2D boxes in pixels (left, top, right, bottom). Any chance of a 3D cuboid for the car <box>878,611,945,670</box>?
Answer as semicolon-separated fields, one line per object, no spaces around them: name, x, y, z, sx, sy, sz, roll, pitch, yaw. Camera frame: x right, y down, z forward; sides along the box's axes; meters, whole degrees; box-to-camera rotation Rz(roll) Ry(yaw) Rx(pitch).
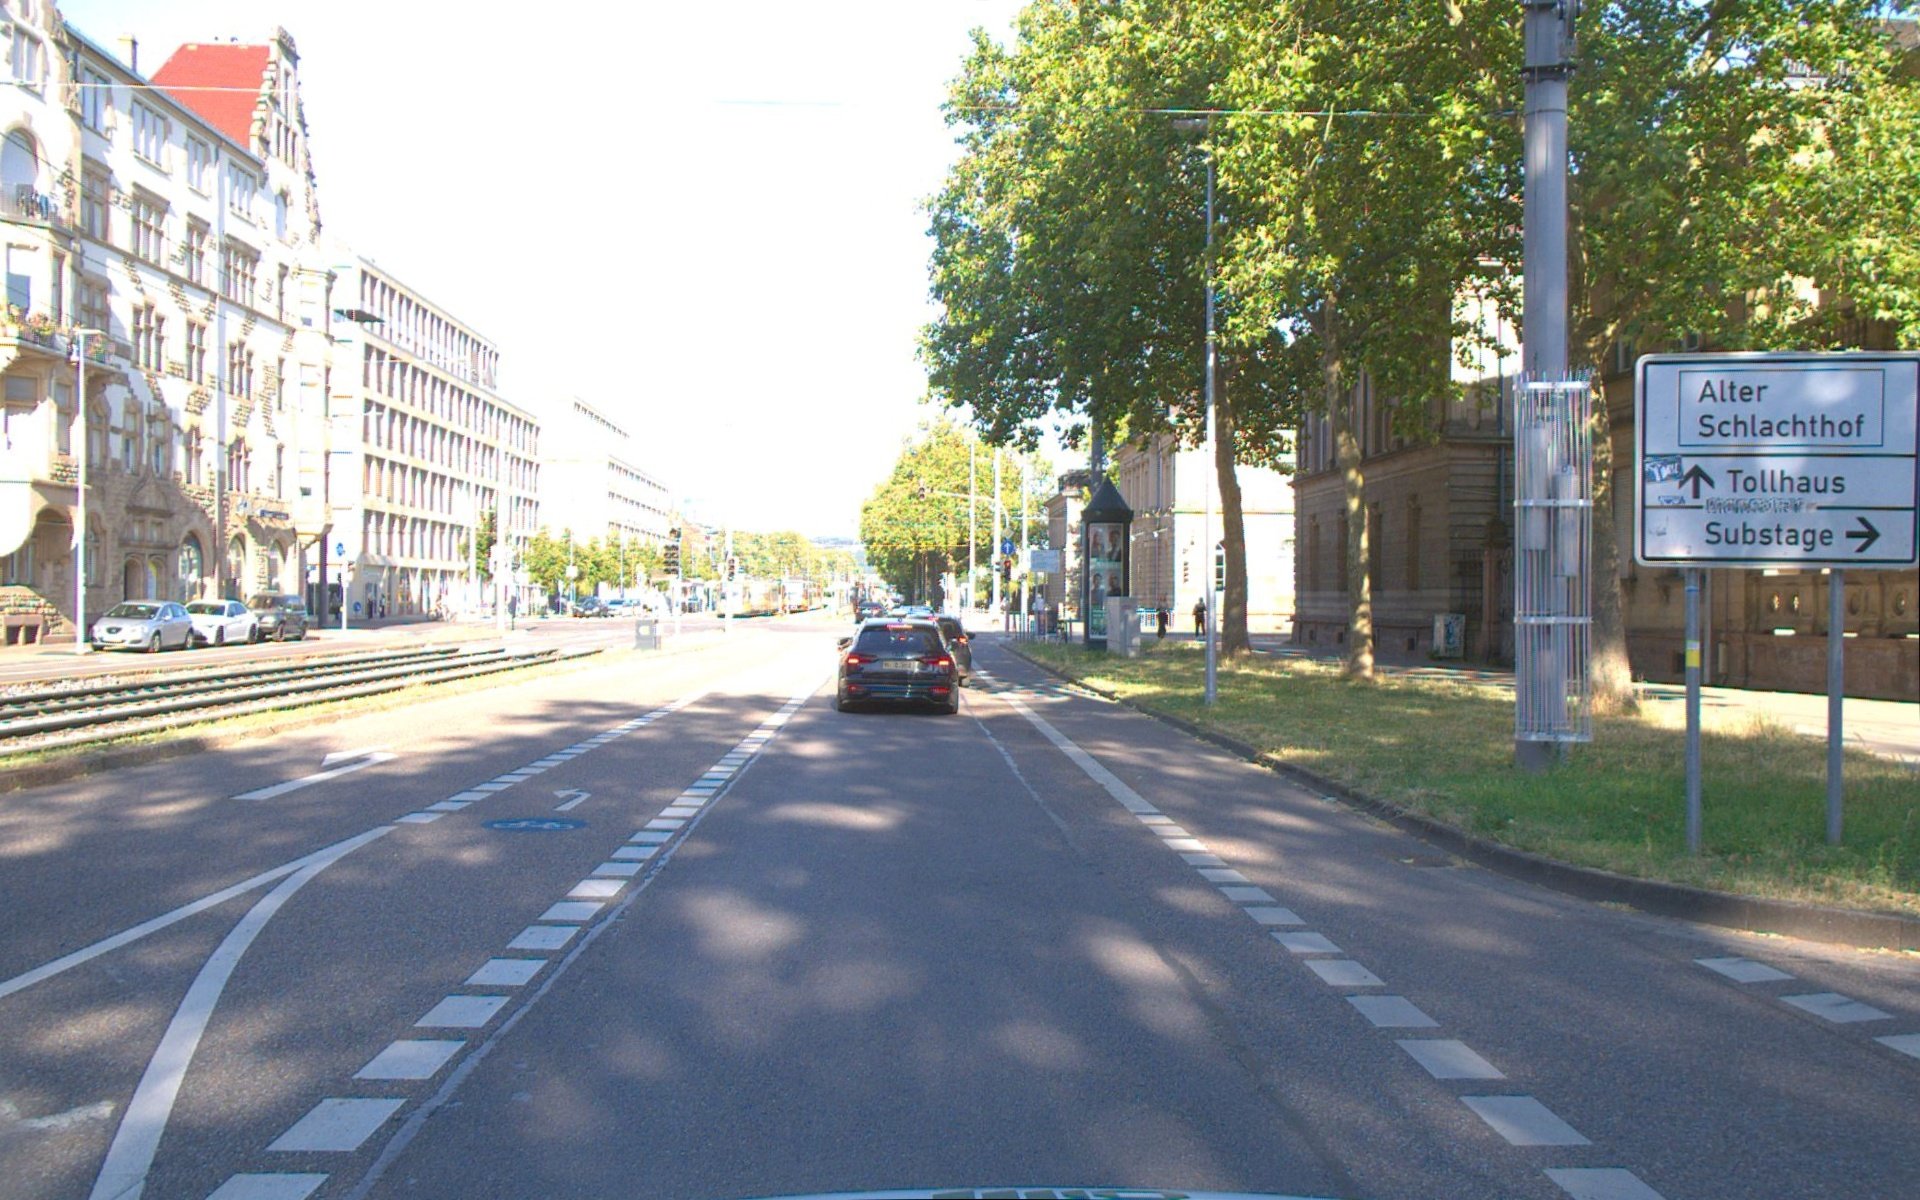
car;-1.325;1.063;45.158;1.758;1.537;3.998;0;0;-2

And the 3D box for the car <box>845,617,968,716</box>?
car;-0.890;1.003;26.410;1.797;1.415;4.156;1;0;-3

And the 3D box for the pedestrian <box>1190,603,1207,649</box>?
pedestrian;9.119;0.985;63.223;0.575;1.758;0.650;2;0;12

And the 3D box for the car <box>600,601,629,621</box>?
car;-27.684;0.859;132.499;1.759;1.537;3.996;0;0;-5

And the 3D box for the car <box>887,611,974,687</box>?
car;-0.660;1.008;35.703;1.758;1.537;3.998;0;0;-2

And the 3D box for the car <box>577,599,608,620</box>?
car;-27.878;0.719;125.701;1.759;1.537;3.996;0;0;-5

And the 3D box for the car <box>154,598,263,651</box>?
car;-24.401;0.762;53.865;1.759;1.536;4.182;3;0;-4

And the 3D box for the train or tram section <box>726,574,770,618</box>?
train or tram section;-17.439;-0.309;136.366;2.768;3.511;9.060;0;0;-2

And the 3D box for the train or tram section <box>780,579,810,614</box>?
train or tram section;-16.692;-0.364;167.713;2.769;3.511;9.056;0;0;-4

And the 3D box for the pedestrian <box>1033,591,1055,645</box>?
pedestrian;2.817;0.595;55.468;0.575;1.758;0.650;2;0;10

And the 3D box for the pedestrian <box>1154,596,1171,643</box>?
pedestrian;7.773;0.748;63.514;0.575;1.758;0.650;2;0;10

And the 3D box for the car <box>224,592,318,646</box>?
car;-24.695;0.657;59.426;1.759;1.749;4.182;3;0;-4

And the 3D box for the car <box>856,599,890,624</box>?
car;-5.735;0.747;108.954;1.757;1.537;4.001;2;-1;3

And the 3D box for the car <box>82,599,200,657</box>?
car;-23.898;0.789;48.400;1.760;1.536;3.994;3;0;-7

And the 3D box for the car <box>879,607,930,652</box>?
car;-1.979;1.022;59.229;1.758;1.537;3.998;0;0;-2

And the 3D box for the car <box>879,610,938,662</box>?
car;-1.581;1.076;50.803;1.758;1.537;3.998;0;0;-2
